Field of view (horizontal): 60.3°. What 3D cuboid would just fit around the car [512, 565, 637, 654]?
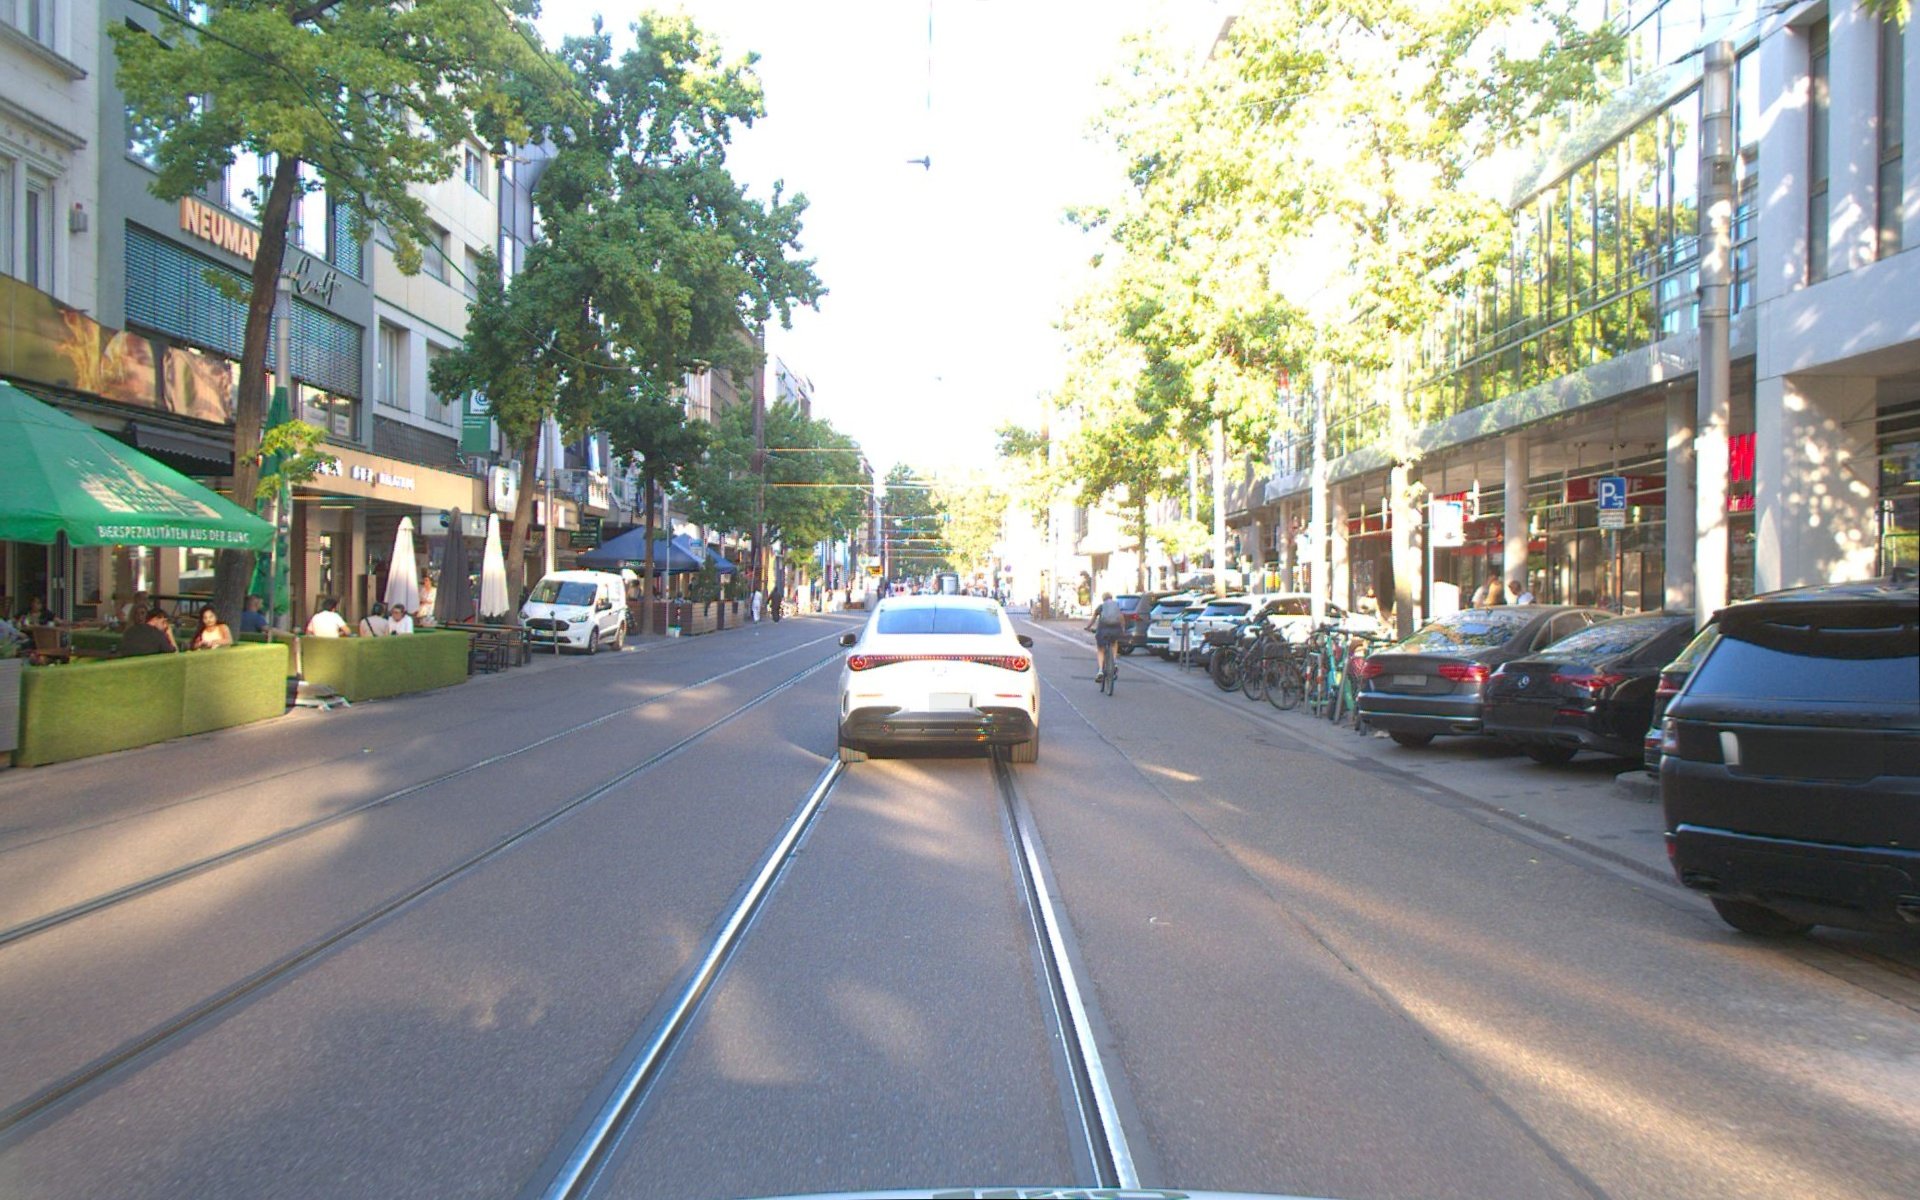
[{"bbox_3d":[-8.983,0.196,38.914,1.759,1.897,4.554,3,0,1],"label":"car"}]

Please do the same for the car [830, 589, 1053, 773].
[{"bbox_3d":[-0.169,0.659,15.770,1.819,1.481,4.174,1,0,-1],"label":"car"}]

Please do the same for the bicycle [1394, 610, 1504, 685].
[{"bbox_3d":[8.108,0.769,27.421,1.751,1.125,0.627,-3,0,-26],"label":"bicycle"}]

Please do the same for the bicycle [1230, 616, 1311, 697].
[{"bbox_3d":[4.955,0.891,26.316,0.472,1.183,1.687,-3,0,39],"label":"bicycle"}]

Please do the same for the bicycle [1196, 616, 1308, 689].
[{"bbox_3d":[4.995,0.890,28.266,1.870,1.139,0.661,-2,0,-30],"label":"bicycle"}]

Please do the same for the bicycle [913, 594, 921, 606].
[{"bbox_3d":[-4.187,-0.022,160.147,0.784,1.162,2.256,2,0,-2],"label":"bicycle"}]

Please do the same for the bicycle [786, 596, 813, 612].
[{"bbox_3d":[-9.049,0.227,93.163,1.462,0.855,0.344,2,0,1],"label":"bicycle"}]

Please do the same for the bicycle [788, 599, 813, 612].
[{"bbox_3d":[-9.948,0.346,103.178,1.462,0.797,0.344,2,0,1],"label":"bicycle"}]

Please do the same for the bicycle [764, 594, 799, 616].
[{"bbox_3d":[-9.663,0.259,89.649,1.808,1.160,0.377,2,0,1],"label":"bicycle"}]

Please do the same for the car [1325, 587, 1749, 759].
[{"bbox_3d":[6.496,0.720,18.353,5.006,1.494,1.952,-3,0,-37],"label":"car"}]

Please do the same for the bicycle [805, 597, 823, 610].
[{"bbox_3d":[-11.134,0.258,126.128,0.703,1.027,2.041,0,0,13],"label":"bicycle"}]

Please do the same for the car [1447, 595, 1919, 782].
[{"bbox_3d":[7.146,0.756,15.788,4.586,1.451,1.921,-2,0,-22],"label":"car"}]

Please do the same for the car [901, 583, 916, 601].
[{"bbox_3d":[-7.223,-1.136,233.083,1.870,2.504,5.275,0,0,0],"label":"car"}]

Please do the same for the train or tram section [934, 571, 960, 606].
[{"bbox_3d":[-1.367,-1.178,176.442,2.639,3.578,12.544,0,0,0],"label":"train or tram section"}]

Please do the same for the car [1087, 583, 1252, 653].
[{"bbox_3d":[5.663,0.468,44.486,4.300,1.681,1.676,-2,0,-32],"label":"car"}]

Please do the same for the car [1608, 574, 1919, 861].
[{"bbox_3d":[7.152,0.665,11.907,4.592,1.684,1.993,-2,1,-25],"label":"car"}]

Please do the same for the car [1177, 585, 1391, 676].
[{"bbox_3d":[6.502,0.573,33.057,4.110,1.598,1.833,-2,1,-34],"label":"car"}]

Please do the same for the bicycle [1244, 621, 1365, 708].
[{"bbox_3d":[5.012,0.918,24.069,1.543,1.107,0.860,-3,2,-31],"label":"bicycle"}]

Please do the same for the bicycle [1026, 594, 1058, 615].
[{"bbox_3d":[5.124,0.286,103.396,1.874,1.303,0.608,-2,0,-12],"label":"bicycle"}]

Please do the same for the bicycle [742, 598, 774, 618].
[{"bbox_3d":[-10.143,0.384,83.013,1.562,0.947,0.377,2,0,6],"label":"bicycle"}]

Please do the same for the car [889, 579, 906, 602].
[{"bbox_3d":[-8.117,-1.189,214.392,1.953,2.948,5.275,0,0,0],"label":"car"}]

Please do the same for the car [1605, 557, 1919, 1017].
[{"bbox_3d":[5.512,0.656,8.021,4.603,1.794,1.975,-3,0,-30],"label":"car"}]

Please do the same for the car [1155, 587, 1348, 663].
[{"bbox_3d":[6.654,0.543,37.752,4.092,1.525,1.676,-2,0,-24],"label":"car"}]

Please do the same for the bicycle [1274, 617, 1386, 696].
[{"bbox_3d":[5.825,0.877,26.041,1.669,1.125,0.627,-3,0,-27],"label":"bicycle"}]

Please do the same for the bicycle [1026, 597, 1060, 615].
[{"bbox_3d":[5.344,0.387,106.382,2.076,1.115,0.608,1,0,-12],"label":"bicycle"}]

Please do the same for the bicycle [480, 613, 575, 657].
[{"bbox_3d":[-9.261,0.744,35.481,0.821,0.880,1.852,3,1,38],"label":"bicycle"}]

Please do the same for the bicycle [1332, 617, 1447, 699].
[{"bbox_3d":[6.484,0.862,24.952,1.652,1.093,0.725,-3,2,-31],"label":"bicycle"}]

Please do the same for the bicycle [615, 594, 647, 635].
[{"bbox_3d":[-9.942,0.437,49.947,0.687,1.140,2.076,3,1,-18],"label":"bicycle"}]

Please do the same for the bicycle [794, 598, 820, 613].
[{"bbox_3d":[-8.745,0.325,94.635,1.462,0.797,0.344,2,0,1],"label":"bicycle"}]

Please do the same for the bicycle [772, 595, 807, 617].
[{"bbox_3d":[-8.840,0.307,85.634,1.754,1.096,0.377,2,0,-5],"label":"bicycle"}]

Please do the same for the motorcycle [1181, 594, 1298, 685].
[{"bbox_3d":[5.053,0.695,29.802,2.302,1.536,0.845,-2,0,-44],"label":"motorcycle"}]

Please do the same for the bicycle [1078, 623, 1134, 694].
[{"bbox_3d":[2.316,0.902,26.049,0.703,1.012,2.060,2,0,9],"label":"bicycle"}]

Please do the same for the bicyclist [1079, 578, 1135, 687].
[{"bbox_3d":[2.312,0.494,25.919,0.761,1.641,0.913,2,0,8],"label":"bicyclist"}]

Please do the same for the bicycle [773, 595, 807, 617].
[{"bbox_3d":[-8.856,0.308,86.107,1.754,1.096,0.377,2,0,-5],"label":"bicycle"}]

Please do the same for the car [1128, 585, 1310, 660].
[{"bbox_3d":[6.372,0.524,40.534,4.194,1.615,1.864,-2,0,-32],"label":"car"}]

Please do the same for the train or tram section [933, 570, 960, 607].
[{"bbox_3d":[-1.316,-1.111,163.890,2.639,3.578,12.544,0,0,0],"label":"train or tram section"}]
